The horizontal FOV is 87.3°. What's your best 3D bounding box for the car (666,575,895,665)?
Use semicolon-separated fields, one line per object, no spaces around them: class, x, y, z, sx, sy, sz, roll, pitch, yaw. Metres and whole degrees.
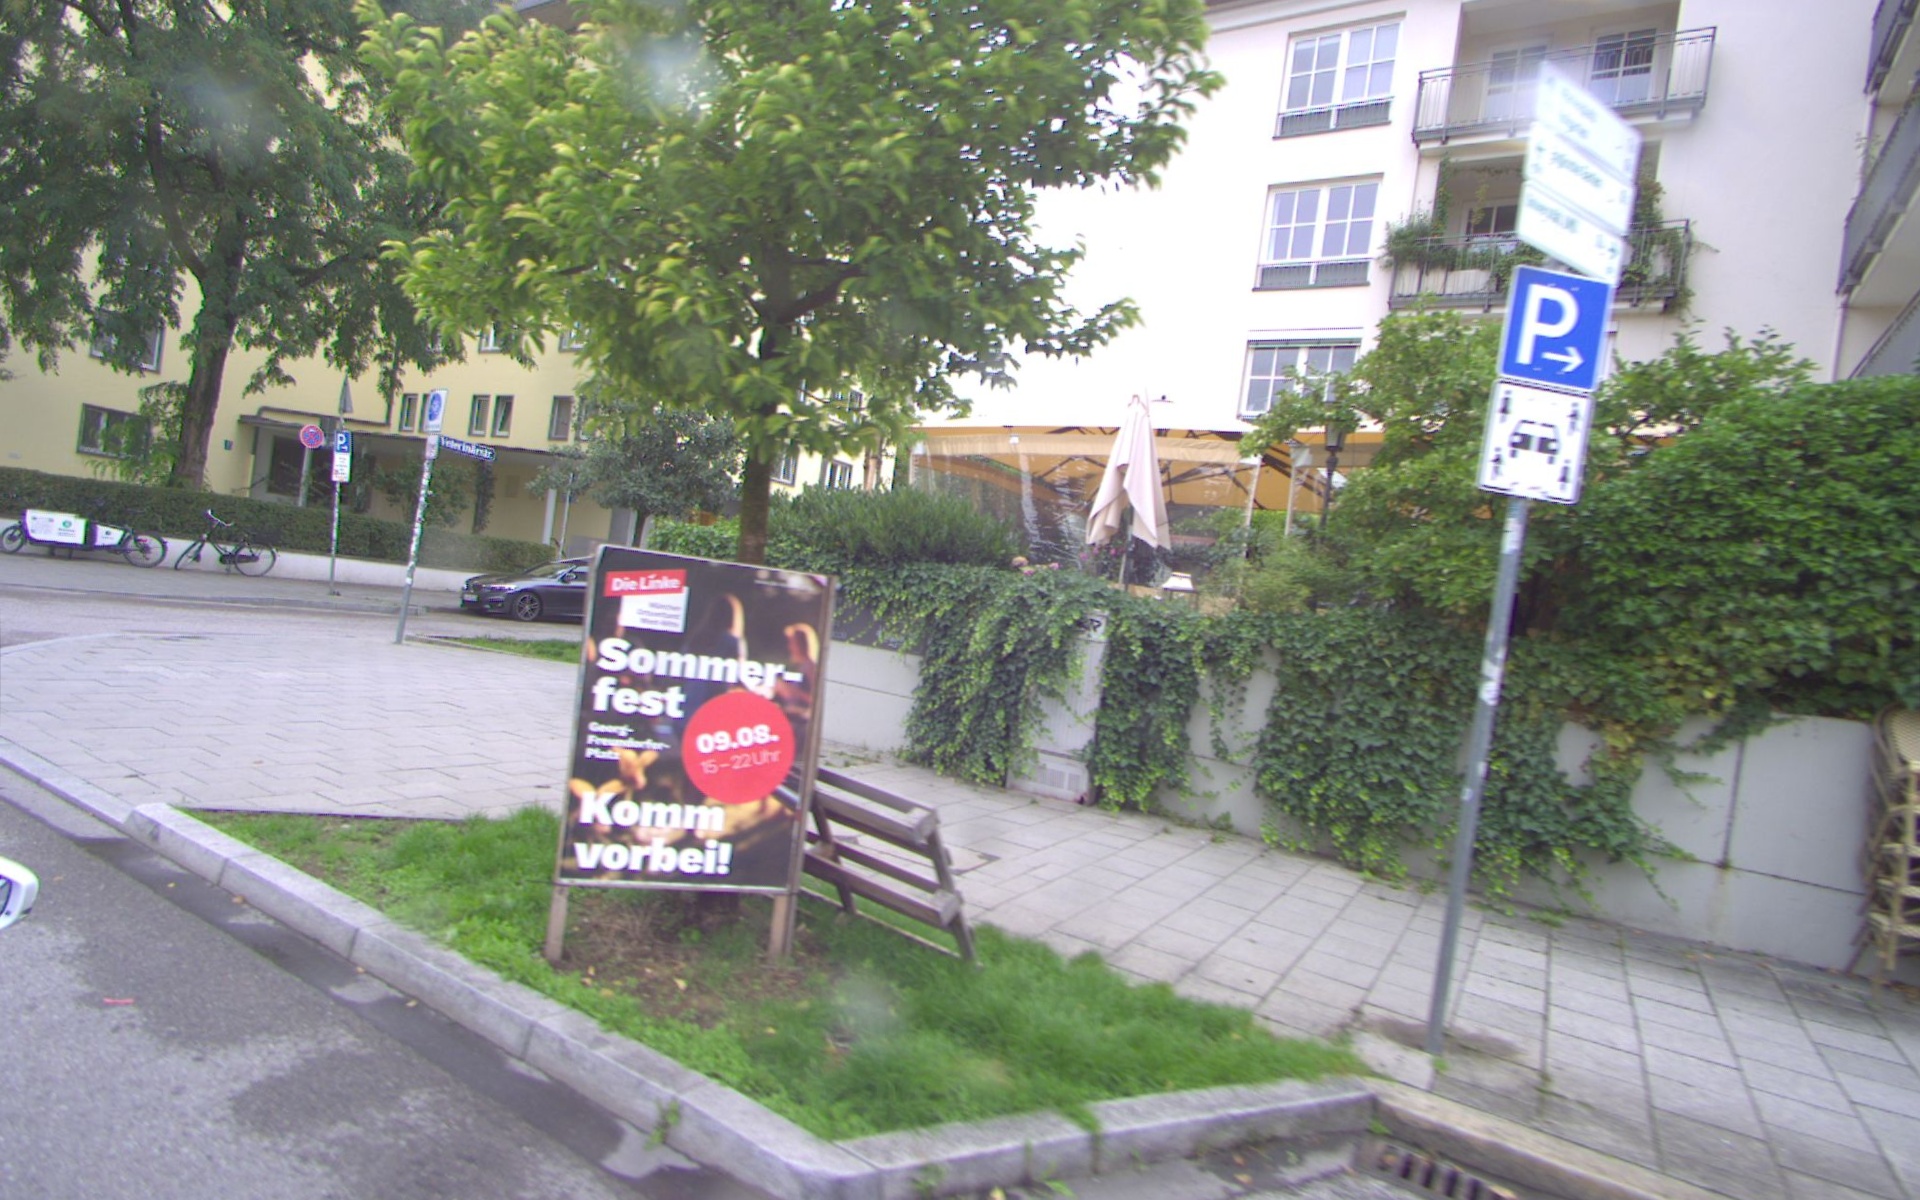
car;-3.304;0.441;19.415;1.819;1.348;4.369;8;2;31

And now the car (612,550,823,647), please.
car;-5.306;0.035;22.591;1.968;1.716;4.369;8;2;31

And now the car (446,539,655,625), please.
car;-8.941;-0.344;22.253;1.580;1.453;3.977;7;0;34

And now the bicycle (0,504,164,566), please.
bicycle;-15.960;-1.166;18.337;2.198;0.788;0.604;8;0;-37

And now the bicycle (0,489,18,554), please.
bicycle;-17.955;-1.535;17.550;2.179;1.131;0.609;8;1;-8

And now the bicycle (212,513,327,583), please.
bicycle;-14.044;-1.045;20.502;0.601;1.164;1.734;8;0;38
